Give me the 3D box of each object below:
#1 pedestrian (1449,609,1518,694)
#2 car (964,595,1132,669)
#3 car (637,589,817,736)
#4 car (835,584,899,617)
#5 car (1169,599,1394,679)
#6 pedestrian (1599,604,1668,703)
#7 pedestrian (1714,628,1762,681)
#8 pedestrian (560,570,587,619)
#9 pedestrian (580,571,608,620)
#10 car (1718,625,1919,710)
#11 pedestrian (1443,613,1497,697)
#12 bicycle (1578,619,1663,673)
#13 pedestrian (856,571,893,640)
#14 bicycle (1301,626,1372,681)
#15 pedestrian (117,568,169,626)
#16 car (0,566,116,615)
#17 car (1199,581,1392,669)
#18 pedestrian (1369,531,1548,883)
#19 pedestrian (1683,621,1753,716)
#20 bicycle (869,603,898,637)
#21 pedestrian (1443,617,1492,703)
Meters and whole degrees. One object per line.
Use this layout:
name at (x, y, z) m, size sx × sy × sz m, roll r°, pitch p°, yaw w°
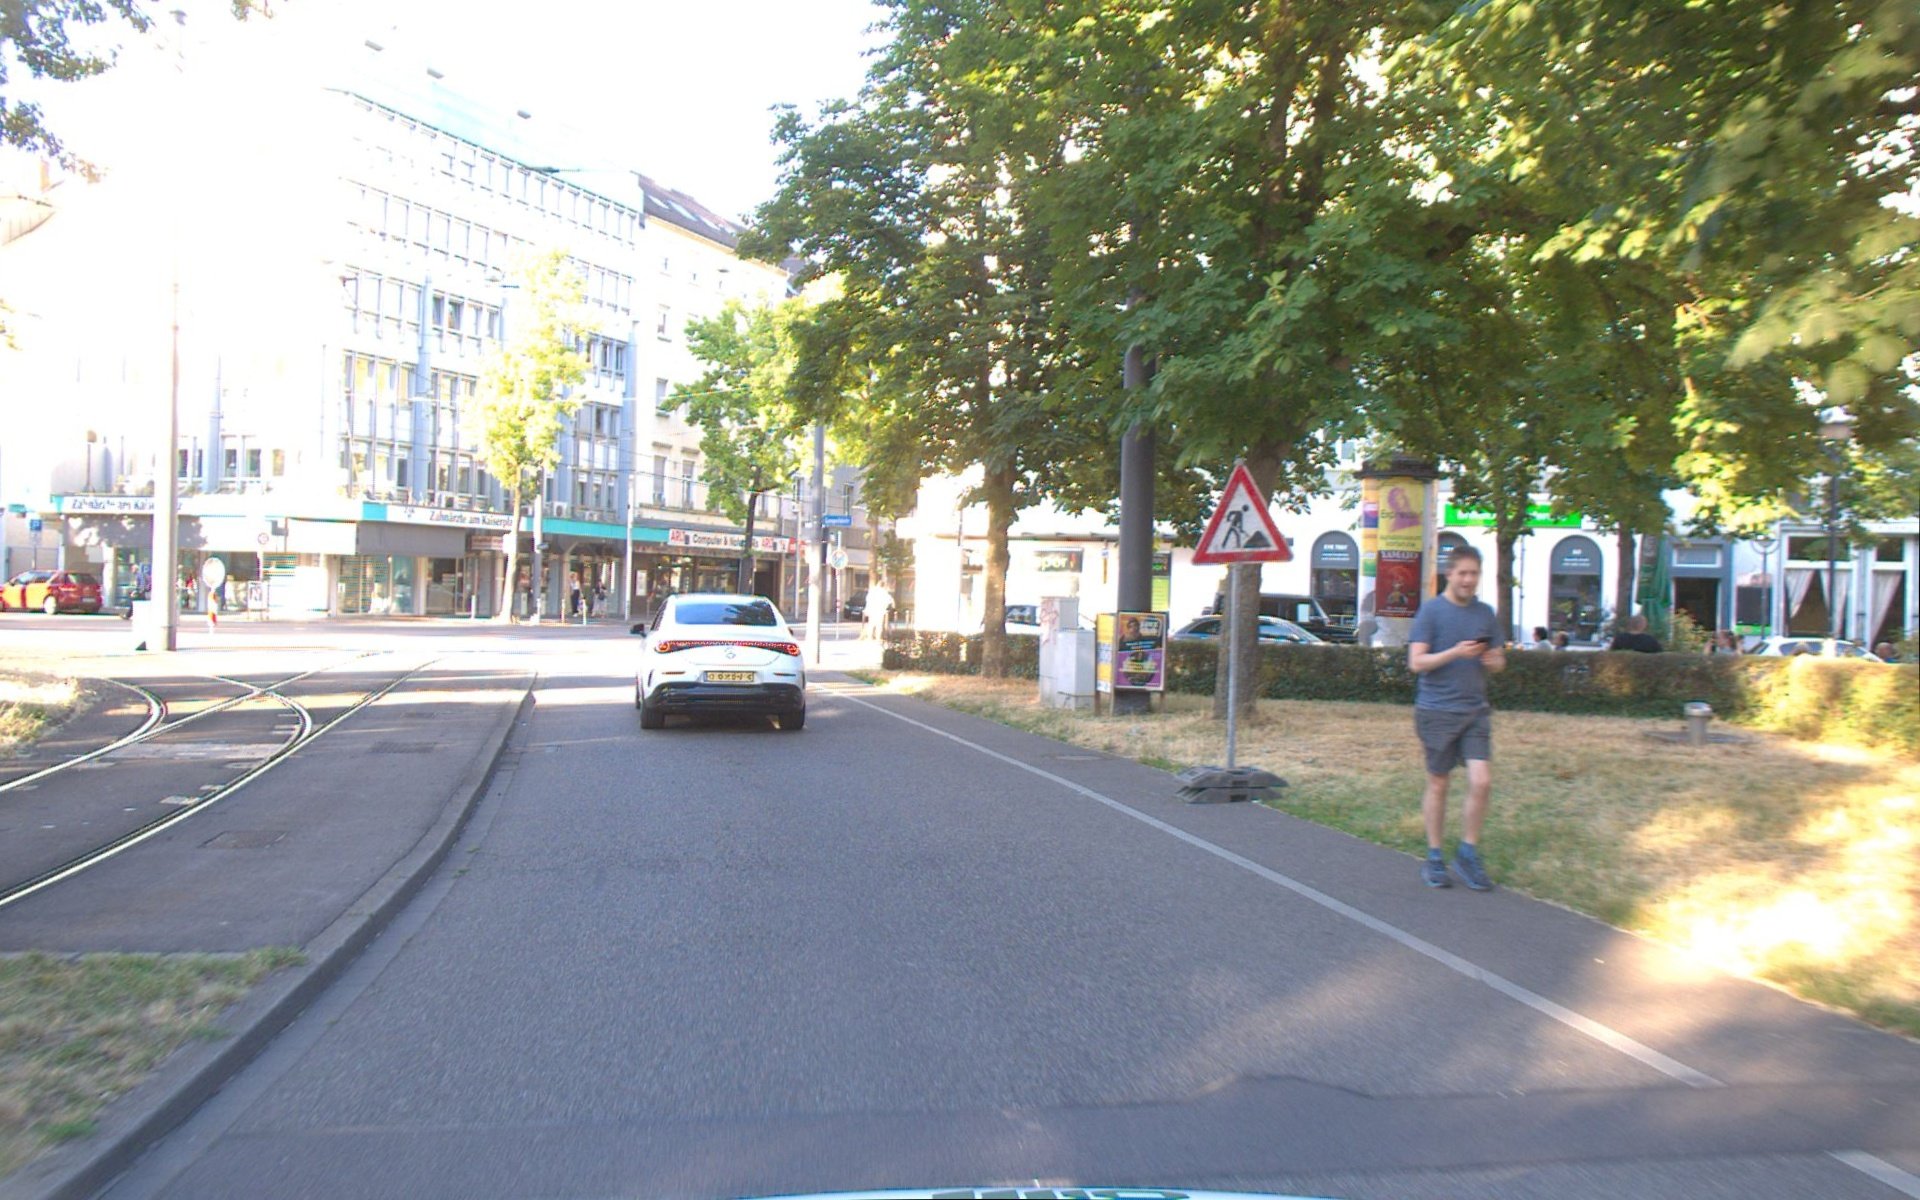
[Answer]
pedestrian at (8.741, 0.850, 27.662) m, size 0.929 × 1.305 × 0.663 m, roll 6°, pitch 1°, yaw 13°
car at (2.039, 0.715, 38.128) m, size 3.492 × 1.540 × 1.739 m, roll 2°, pitch 0°, yaw 21°
car at (-2.766, 0.642, 19.221) m, size 1.834 × 1.494 × 4.033 m, roll 1°, pitch 1°, yaw -10°
car at (-5.063, 0.041, 90.910) m, size 1.922 × 1.668 × 3.999 m, roll 2°, pitch 0°, yaw 22°
car at (7.006, 0.809, 36.070) m, size 4.562 × 1.540 × 1.739 m, roll 2°, pitch 0°, yaw 21°
pedestrian at (9.685, 0.757, 23.789) m, size 0.717 × 1.379 × 1.012 m, roll 0°, pitch -1°, yaw 34°
pedestrian at (19.169, 1.337, 40.778) m, size 1.003 × 1.267 × 0.687 m, roll 1°, pitch 0°, yaw 21°
pedestrian at (-16.363, -0.230, 70.079) m, size 0.780 × 2.049 × 0.734 m, roll 2°, pitch -1°, yaw 23°
pedestrian at (-15.460, -0.190, 69.842) m, size 0.780 × 2.049 × 0.734 m, roll 2°, pitch -1°, yaw 23°
car at (19.432, 1.482, 36.874) m, size 4.405 × 1.645 × 2.023 m, roll 2°, pitch 0°, yaw 21°
pedestrian at (8.076, 0.861, 26.164) m, size 0.761 × 1.264 × 0.989 m, roll 2°, pitch 0°, yaw 18°
bicycle at (16.664, 1.147, 41.780) m, size 1.941 × 1.267 × 0.687 m, roll 1°, pitch 0°, yaw 21°
pedestrian at (-2.585, 0.171, 50.025) m, size 0.823 × 2.049 × 0.847 m, roll 2°, pitch 0°, yaw 16°
bicycle at (6.841, 0.970, 30.024) m, size 0.546 × 0.945 × 1.519 m, roll 1°, pitch -1°, yaw 44°
pedestrian at (-25.233, -0.088, 51.087) m, size 0.890 × 1.732 × 1.157 m, roll 1°, pitch -1°, yaw 38°
car at (-31.115, -0.342, 56.636) m, size 3.911 × 1.511 × 2.024 m, roll 2°, pitch 0°, yaw 28°
car at (8.368, 0.591, 41.196) m, size 4.405 × 1.998 × 2.023 m, roll 2°, pitch 0°, yaw 21°
pedestrian at (2.634, 0.542, 8.751) m, size 0.635 × 1.774 × 0.582 m, roll 2°, pitch 0°, yaw -32°
pedestrian at (10.832, 0.973, 23.613) m, size 0.650 × 1.264 × 0.948 m, roll 6°, pitch 1°, yaw 34°
bicycle at (-2.551, 0.667, 55.354) m, size 0.347 × 1.095 × 1.700 m, roll 2°, pitch 0°, yaw 18°
pedestrian at (7.635, 0.892, 24.877) m, size 0.556 × 1.266 × 0.611 m, roll 1°, pitch -1°, yaw 31°
